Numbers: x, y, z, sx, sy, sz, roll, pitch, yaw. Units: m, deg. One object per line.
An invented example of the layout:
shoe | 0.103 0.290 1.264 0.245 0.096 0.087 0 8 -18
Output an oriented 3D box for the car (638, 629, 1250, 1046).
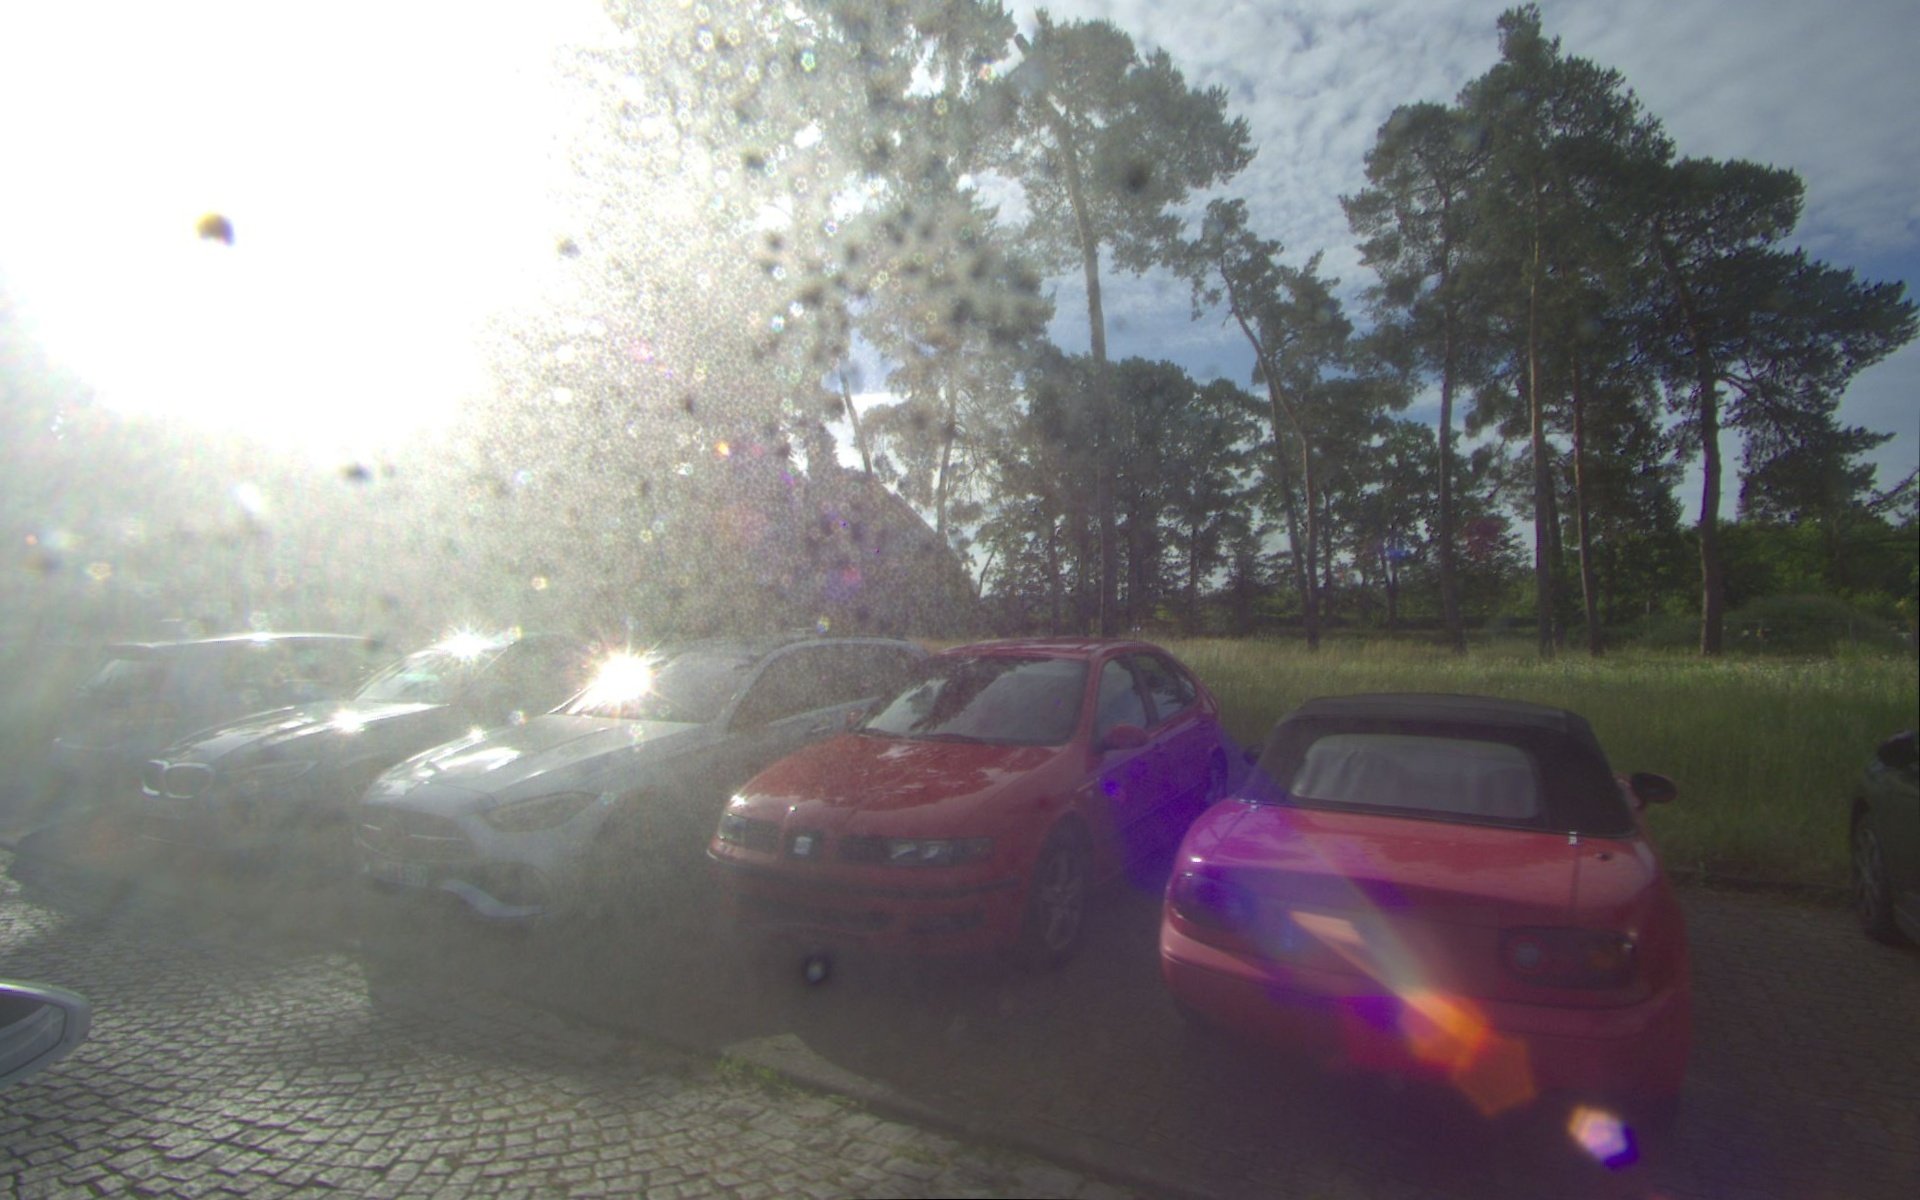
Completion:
car | 0.346 0.955 6.034 1.714 1.492 4.335 -1 -1 30

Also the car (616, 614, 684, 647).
car | -25.126 2.511 81.397 2.232 2.568 5.151 -1 -2 31

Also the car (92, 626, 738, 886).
car | -4.044 0.999 8.379 1.865 1.492 4.506 -1 -1 26

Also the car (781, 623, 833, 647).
car | -11.242 2.581 73.706 1.828 1.701 3.930 -1 -2 28

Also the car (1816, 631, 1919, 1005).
car | 4.567 0.888 3.463 1.746 1.514 3.945 -1 -1 30

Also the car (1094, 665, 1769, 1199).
car | 2.163 1.027 4.497 1.701 1.277 3.945 -1 -1 30

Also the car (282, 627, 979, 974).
car | -1.746 0.968 6.885 1.822 1.492 4.501 -1 -1 30

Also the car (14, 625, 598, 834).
car | -6.091 1.048 10.004 1.903 1.525 4.540 -1 -1 28
